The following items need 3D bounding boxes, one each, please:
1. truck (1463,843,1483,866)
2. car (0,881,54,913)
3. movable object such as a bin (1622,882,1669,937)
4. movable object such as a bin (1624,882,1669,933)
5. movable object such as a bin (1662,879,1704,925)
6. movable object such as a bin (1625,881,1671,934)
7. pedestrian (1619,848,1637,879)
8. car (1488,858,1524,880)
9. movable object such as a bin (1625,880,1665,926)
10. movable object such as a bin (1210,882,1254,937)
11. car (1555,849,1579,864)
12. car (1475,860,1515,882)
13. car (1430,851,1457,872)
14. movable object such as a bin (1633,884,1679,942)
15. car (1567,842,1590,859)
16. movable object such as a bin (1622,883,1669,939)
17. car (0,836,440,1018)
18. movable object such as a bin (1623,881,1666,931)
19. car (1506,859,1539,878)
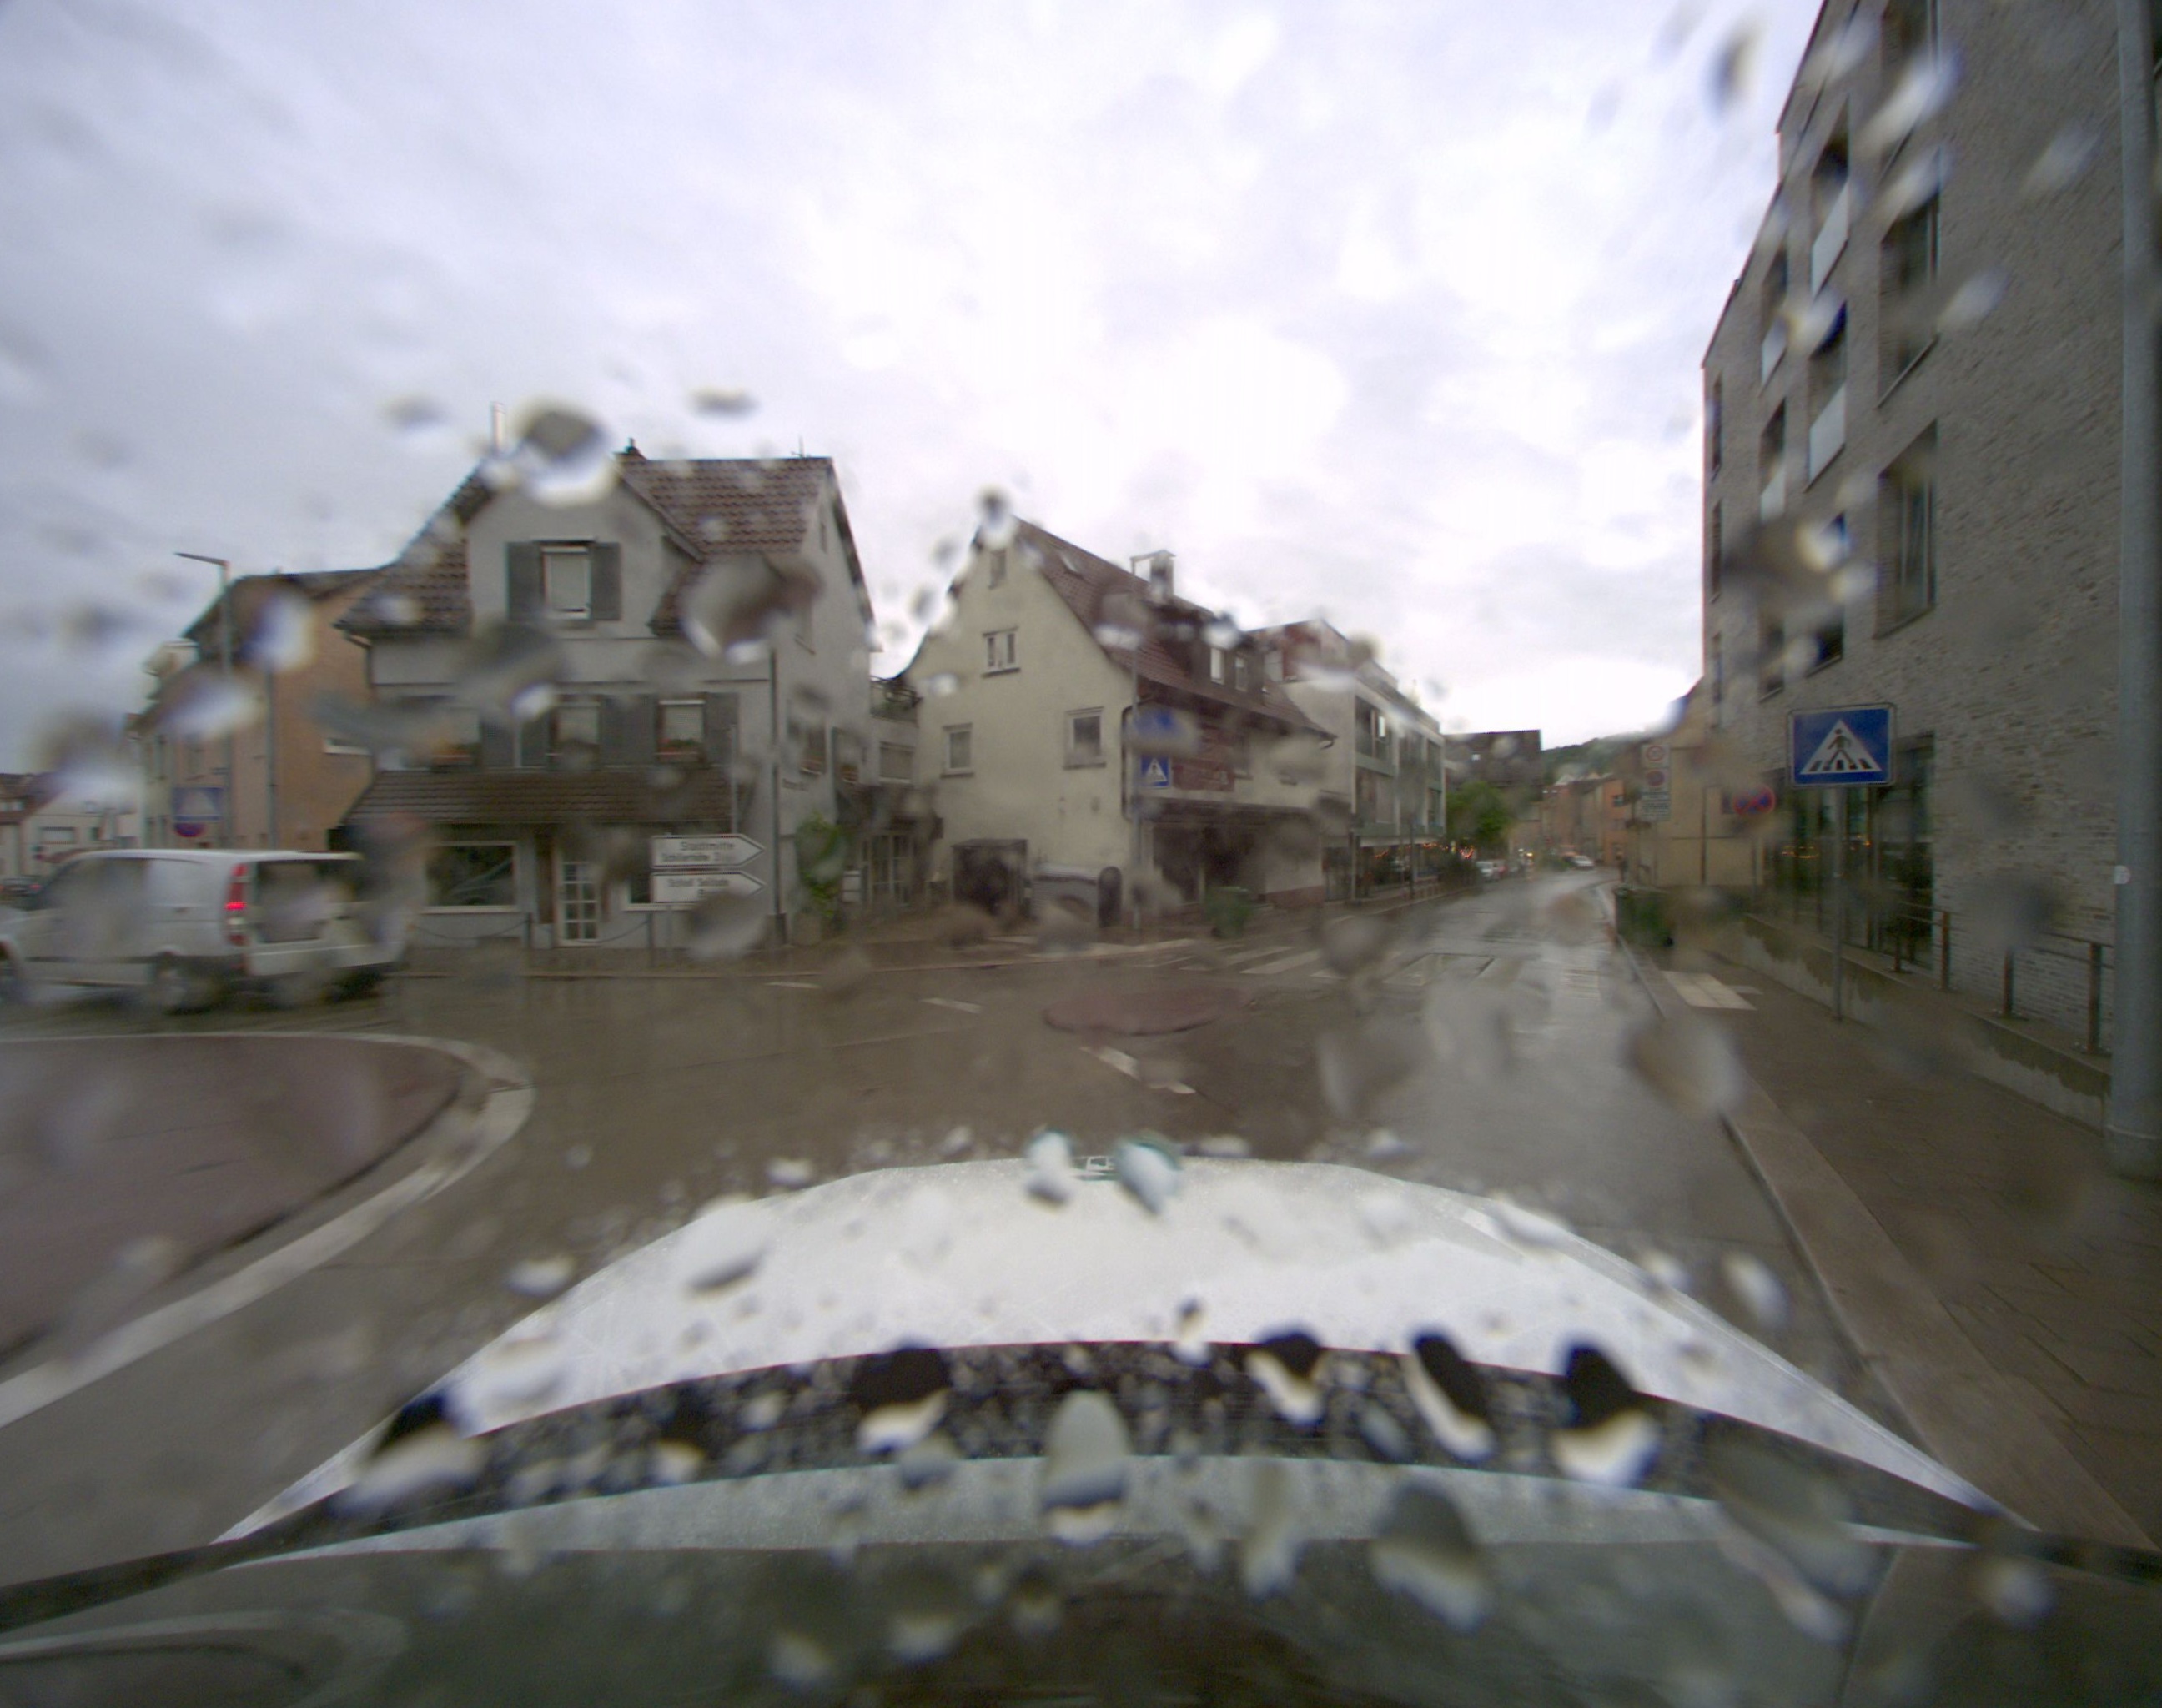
[{"bbox_3d":[39.917,0.019,82.871,1.581,2.062,3.214,-2,3,29],"label":"truck"},{"bbox_3d":[-60.369,2.451,46.457,4.015,1.679,1.991,-2,-1,36],"label":"car"},{"bbox_3d":[11.787,1.145,17.020,0.758,1.095,0.585,-2,-1,32],"label":"movable object such as a bin"},{"bbox_3d":[12.484,1.168,17.998,0.758,1.095,0.585,-2,-1,32],"label":"movable object such as a bin"},{"bbox_3d":[14.841,1.170,20.101,0.758,1.095,0.631,-2,-1,32],"label":"movable object such as a bin"},{"bbox_3d":[12.167,1.141,17.499,0.758,1.095,0.585,-2,-1,32],"label":"movable object such as a bin"},{"bbox_3d":[34.554,0.608,51.473,0.802,1.885,0.913,-2,-1,30],"label":"pedestrian"},{"bbox_3d":[32.908,1.135,62.996,1.769,1.576,4.133,-1,-1,37],"label":"car"},{"bbox_3d":[13.856,1.190,20.017,0.758,1.095,0.585,-2,-1,32],"label":"movable object such as a bin"},{"bbox_3d":[3.232,1.174,17.413,0.680,1.081,0.765,2,0,30],"label":"movable object such as a bin"},{"bbox_3d":[50.047,0.279,83.919,1.699,1.458,3.933,1,1,25],"label":"car"},{"bbox_3d":[29.666,1.177,58.319,1.769,1.499,4.483,-1,-1,37],"label":"car"},{"bbox_3d":[37.119,0.739,83.371,1.794,1.617,4.028,0,6,34],"label":"car"},{"bbox_3d":[11.208,1.135,15.893,0.656,1.095,0.554,-2,-1,30],"label":"movable object such as a bin"},{"bbox_3d":[65.276,-0.465,106.892,2.084,2.146,4.896,-2,-1,26],"label":"car"},{"bbox_3d":[11.450,1.147,16.542,0.733,1.095,0.661,-2,-1,31],"label":"movable object such as a bin"},{"bbox_3d":[-10.982,0.853,10.288,4.869,1.899,2.170,-2,-1,18],"label":"car"},{"bbox_3d":[12.797,1.177,18.514,0.758,1.095,0.585,-2,-1,32],"label":"movable object such as a bin"},{"bbox_3d":[36.258,1.175,66.799,1.698,1.458,3.935,1,1,39],"label":"car"}]
